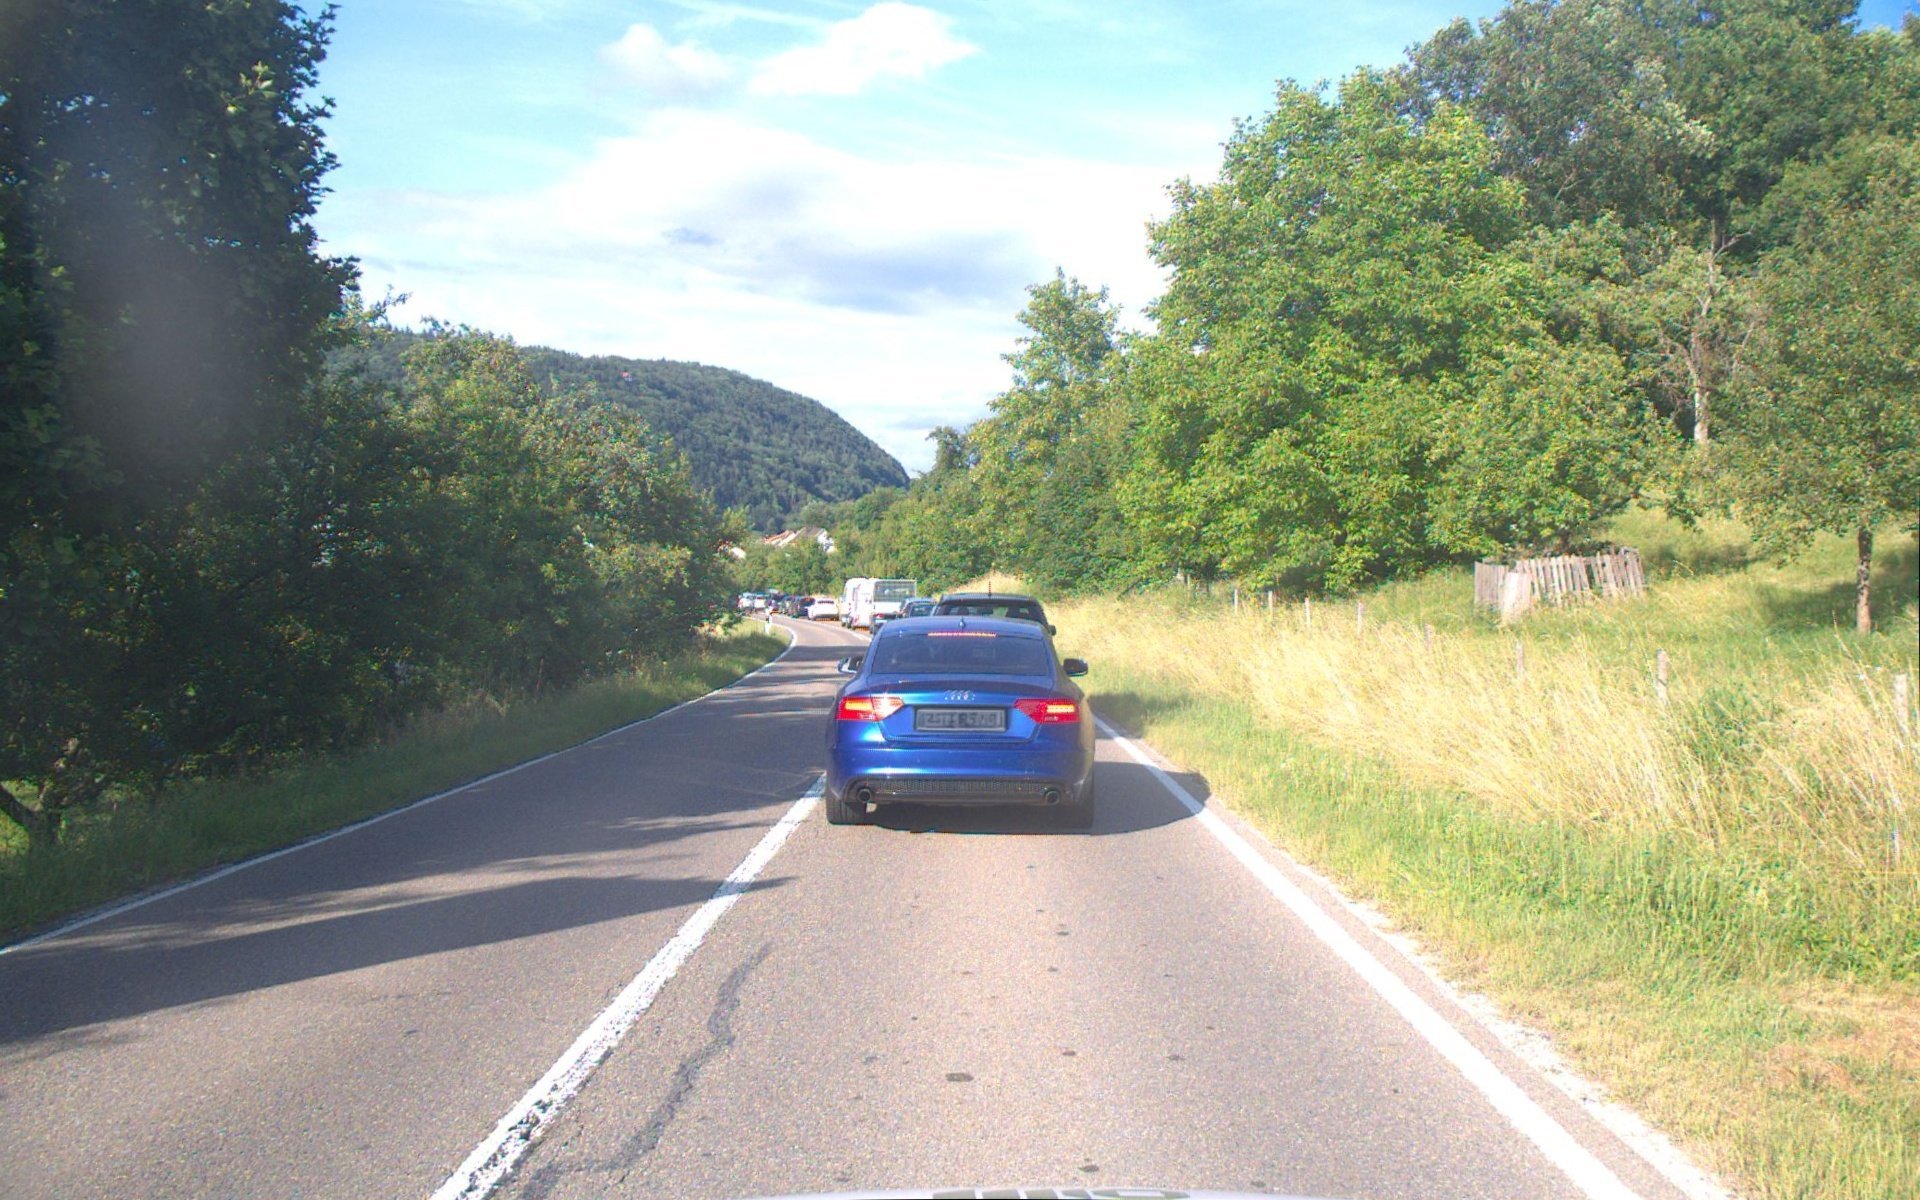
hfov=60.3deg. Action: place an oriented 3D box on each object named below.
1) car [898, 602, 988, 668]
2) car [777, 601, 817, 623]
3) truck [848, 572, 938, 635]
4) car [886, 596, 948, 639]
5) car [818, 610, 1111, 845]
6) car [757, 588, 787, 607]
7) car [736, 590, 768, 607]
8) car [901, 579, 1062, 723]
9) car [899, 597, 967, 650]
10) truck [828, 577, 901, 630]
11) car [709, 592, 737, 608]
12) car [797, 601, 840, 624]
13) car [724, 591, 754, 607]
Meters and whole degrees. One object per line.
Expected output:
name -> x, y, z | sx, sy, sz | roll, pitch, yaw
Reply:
car -> -0.354, 0.789, 38.444 | 1.952, 1.411, 4.000 | 1, -1, 0
car -> -11.739, 0.847, 118.703 | 1.964, 1.508, 3.977 | 1, -1, -20
truck -> -3.267, 0.167, 77.562 | 2.812, 2.712, 10.367 | 1, 0, -10
car -> -1.659, 0.645, 61.924 | 1.955, 1.508, 3.994 | 1, -1, -7
car -> 0.077, 0.783, 12.019 | 1.756, 1.383, 4.001 | 1, 0, 1
car -> -15.910, -0.184, 139.737 | 1.961, 1.508, 3.983 | 1, -1, -16
car -> -18.689, -0.145, 148.325 | 1.965, 1.508, 3.974 | 1, -1, -22
car -> 0.279, 0.647, 22.385 | 1.952, 1.732, 4.000 | 1, -1, 0
car -> -0.791, 0.717, 50.729 | 1.952, 1.508, 4.000 | 1, -1, 0
truck -> -5.414, 0.165, 91.737 | 2.812, 2.712, 10.618 | 1, 0, -10
car -> -24.059, 0.000, 168.052 | 1.965, 1.508, 3.974 | 1, -1, -22
car -> -9.547, 0.824, 111.372 | 1.964, 1.508, 3.977 | 1, -1, -20
car -> -20.802, -0.102, 155.592 | 1.965, 1.508, 3.974 | 1, -1, -22
